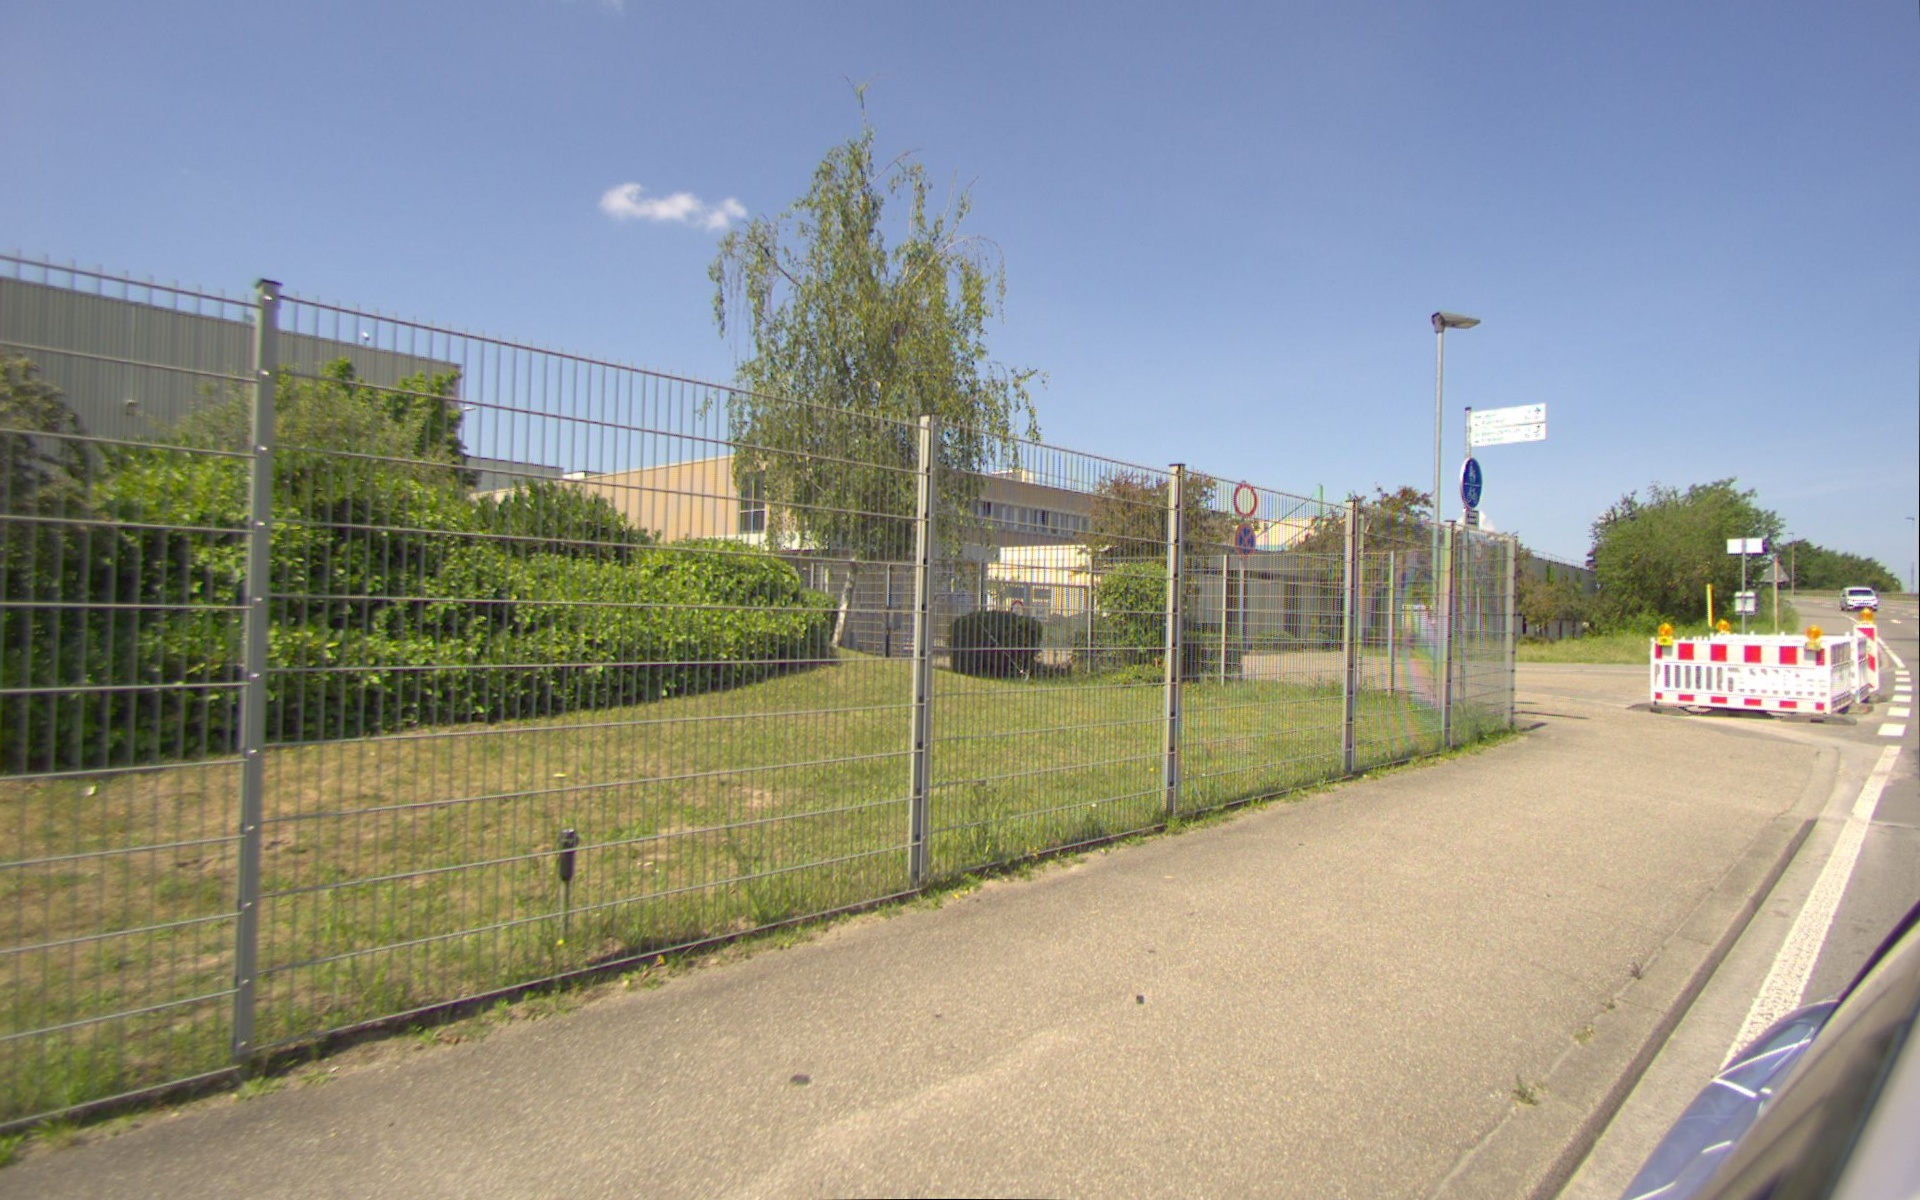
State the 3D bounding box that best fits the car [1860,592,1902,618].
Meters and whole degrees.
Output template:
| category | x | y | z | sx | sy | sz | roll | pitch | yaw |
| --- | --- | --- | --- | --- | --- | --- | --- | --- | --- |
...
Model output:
| category | x | y | z | sx | sy | sz | roll | pitch | yaw |
| --- | --- | --- | --- | --- | --- | --- | --- | --- | --- |
| car | 69.430 | 0.375 | 76.340 | 1.989 | 1.939 | 3.946 | 1 | 0 | 37 |
